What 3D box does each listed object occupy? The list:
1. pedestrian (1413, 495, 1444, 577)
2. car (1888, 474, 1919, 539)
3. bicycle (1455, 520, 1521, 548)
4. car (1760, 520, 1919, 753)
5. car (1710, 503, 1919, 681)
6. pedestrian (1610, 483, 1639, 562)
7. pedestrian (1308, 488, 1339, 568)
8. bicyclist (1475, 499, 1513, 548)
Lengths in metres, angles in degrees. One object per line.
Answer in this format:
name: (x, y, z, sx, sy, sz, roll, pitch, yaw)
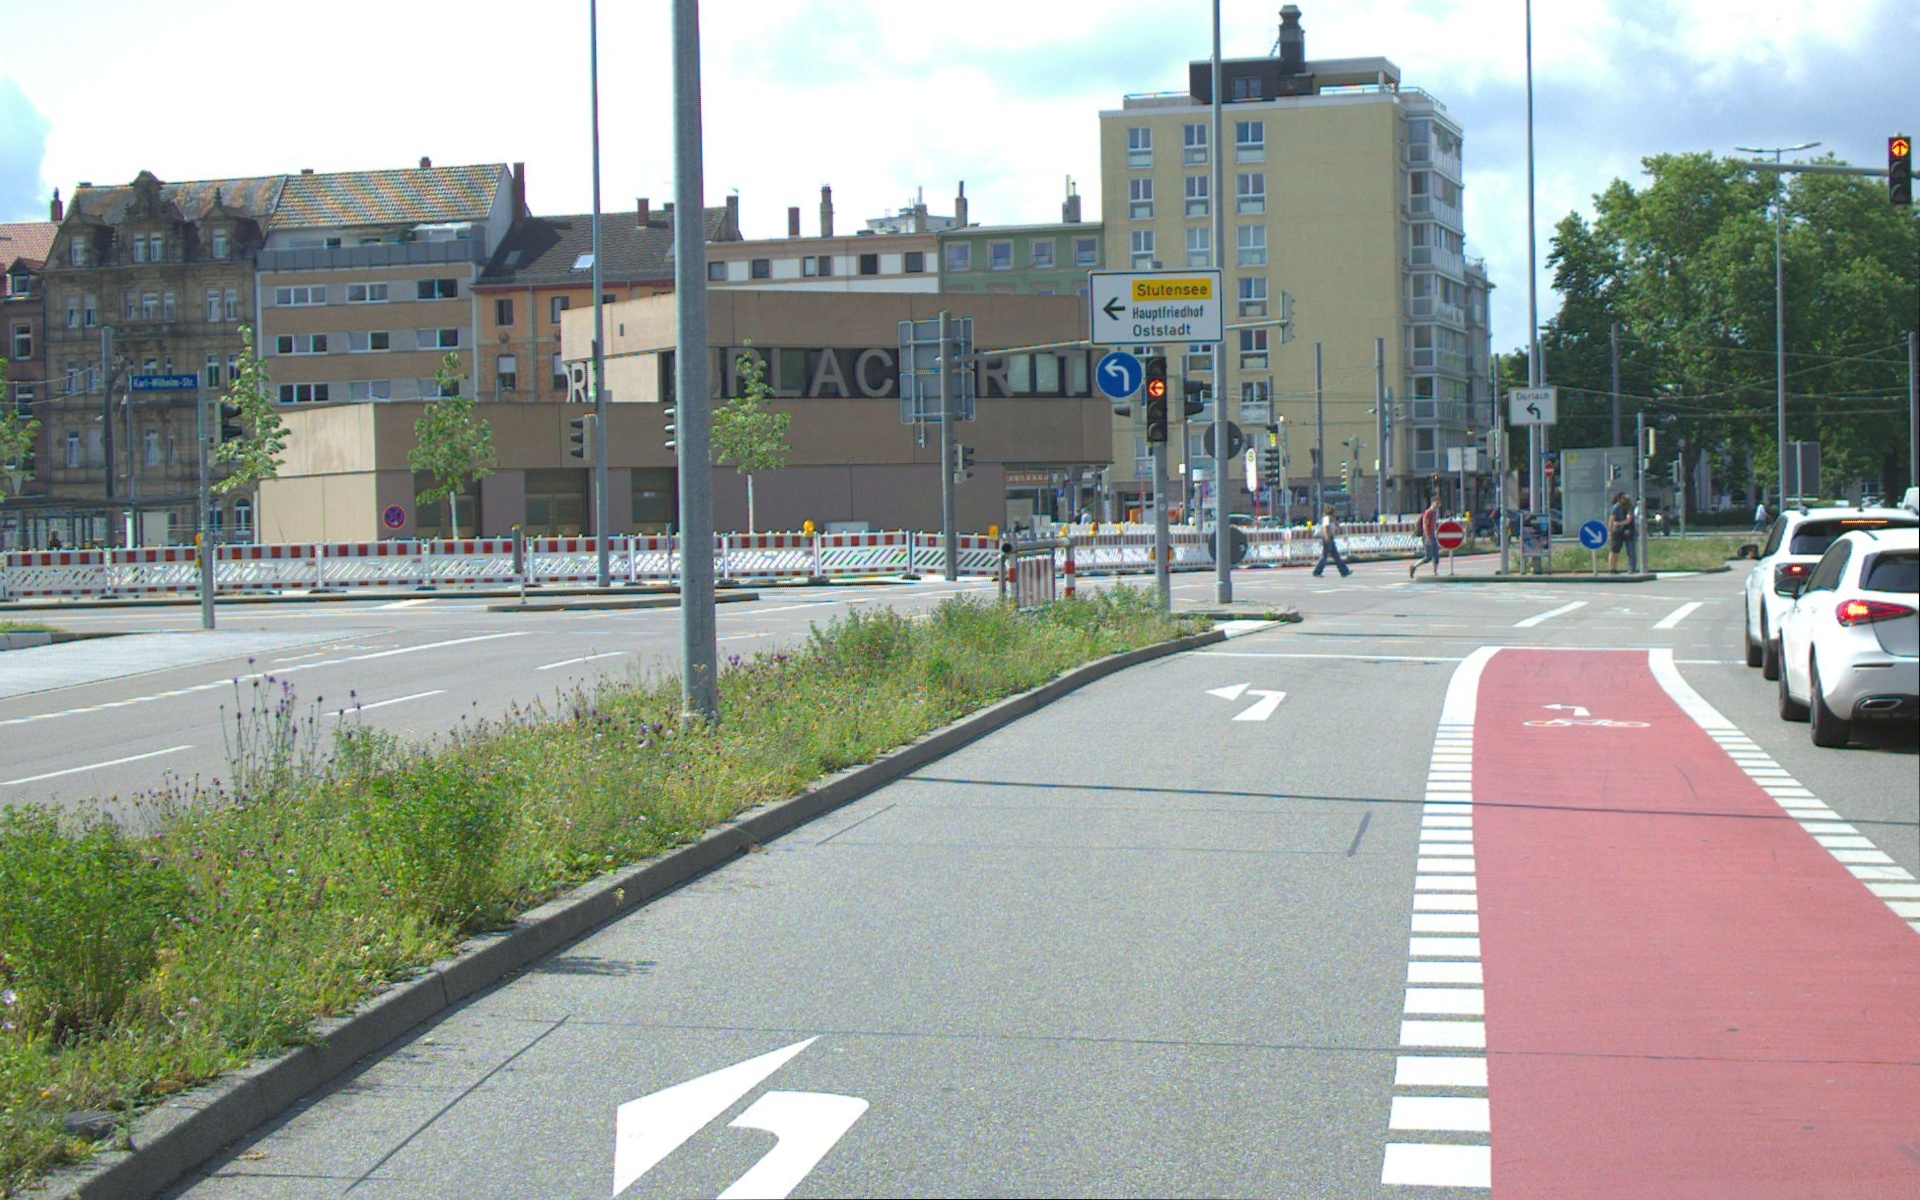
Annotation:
pedestrian: (9.957, -1.353, 73.090, 0.525, 1.727, 0.623, 0, 1, 18)
car: (30.723, -2.945, 107.365, 2.009, 1.960, 4.630, -1, 1, 33)
bicycle: (20.773, -2.594, 135.249, 2.382, 1.063, 0.857, 0, 1, 29)
car: (6.686, 0.178, 23.834, 1.904, 1.419, 4.383, -1, 2, 9)
car: (8.084, -0.129, 32.277, 1.791, 1.534, 4.010, 1, 2, 9)
pedestrian: (14.202, -1.656, 73.502, 0.525, 1.678, 0.623, 0, 1, 18)
pedestrian: (7.911, -1.577, 74.830, 0.525, 1.727, 0.623, 0, 1, 18)
bicyclist: (20.985, -3.016, 135.126, 1.221, 1.903, 0.857, 0, 1, 29)
